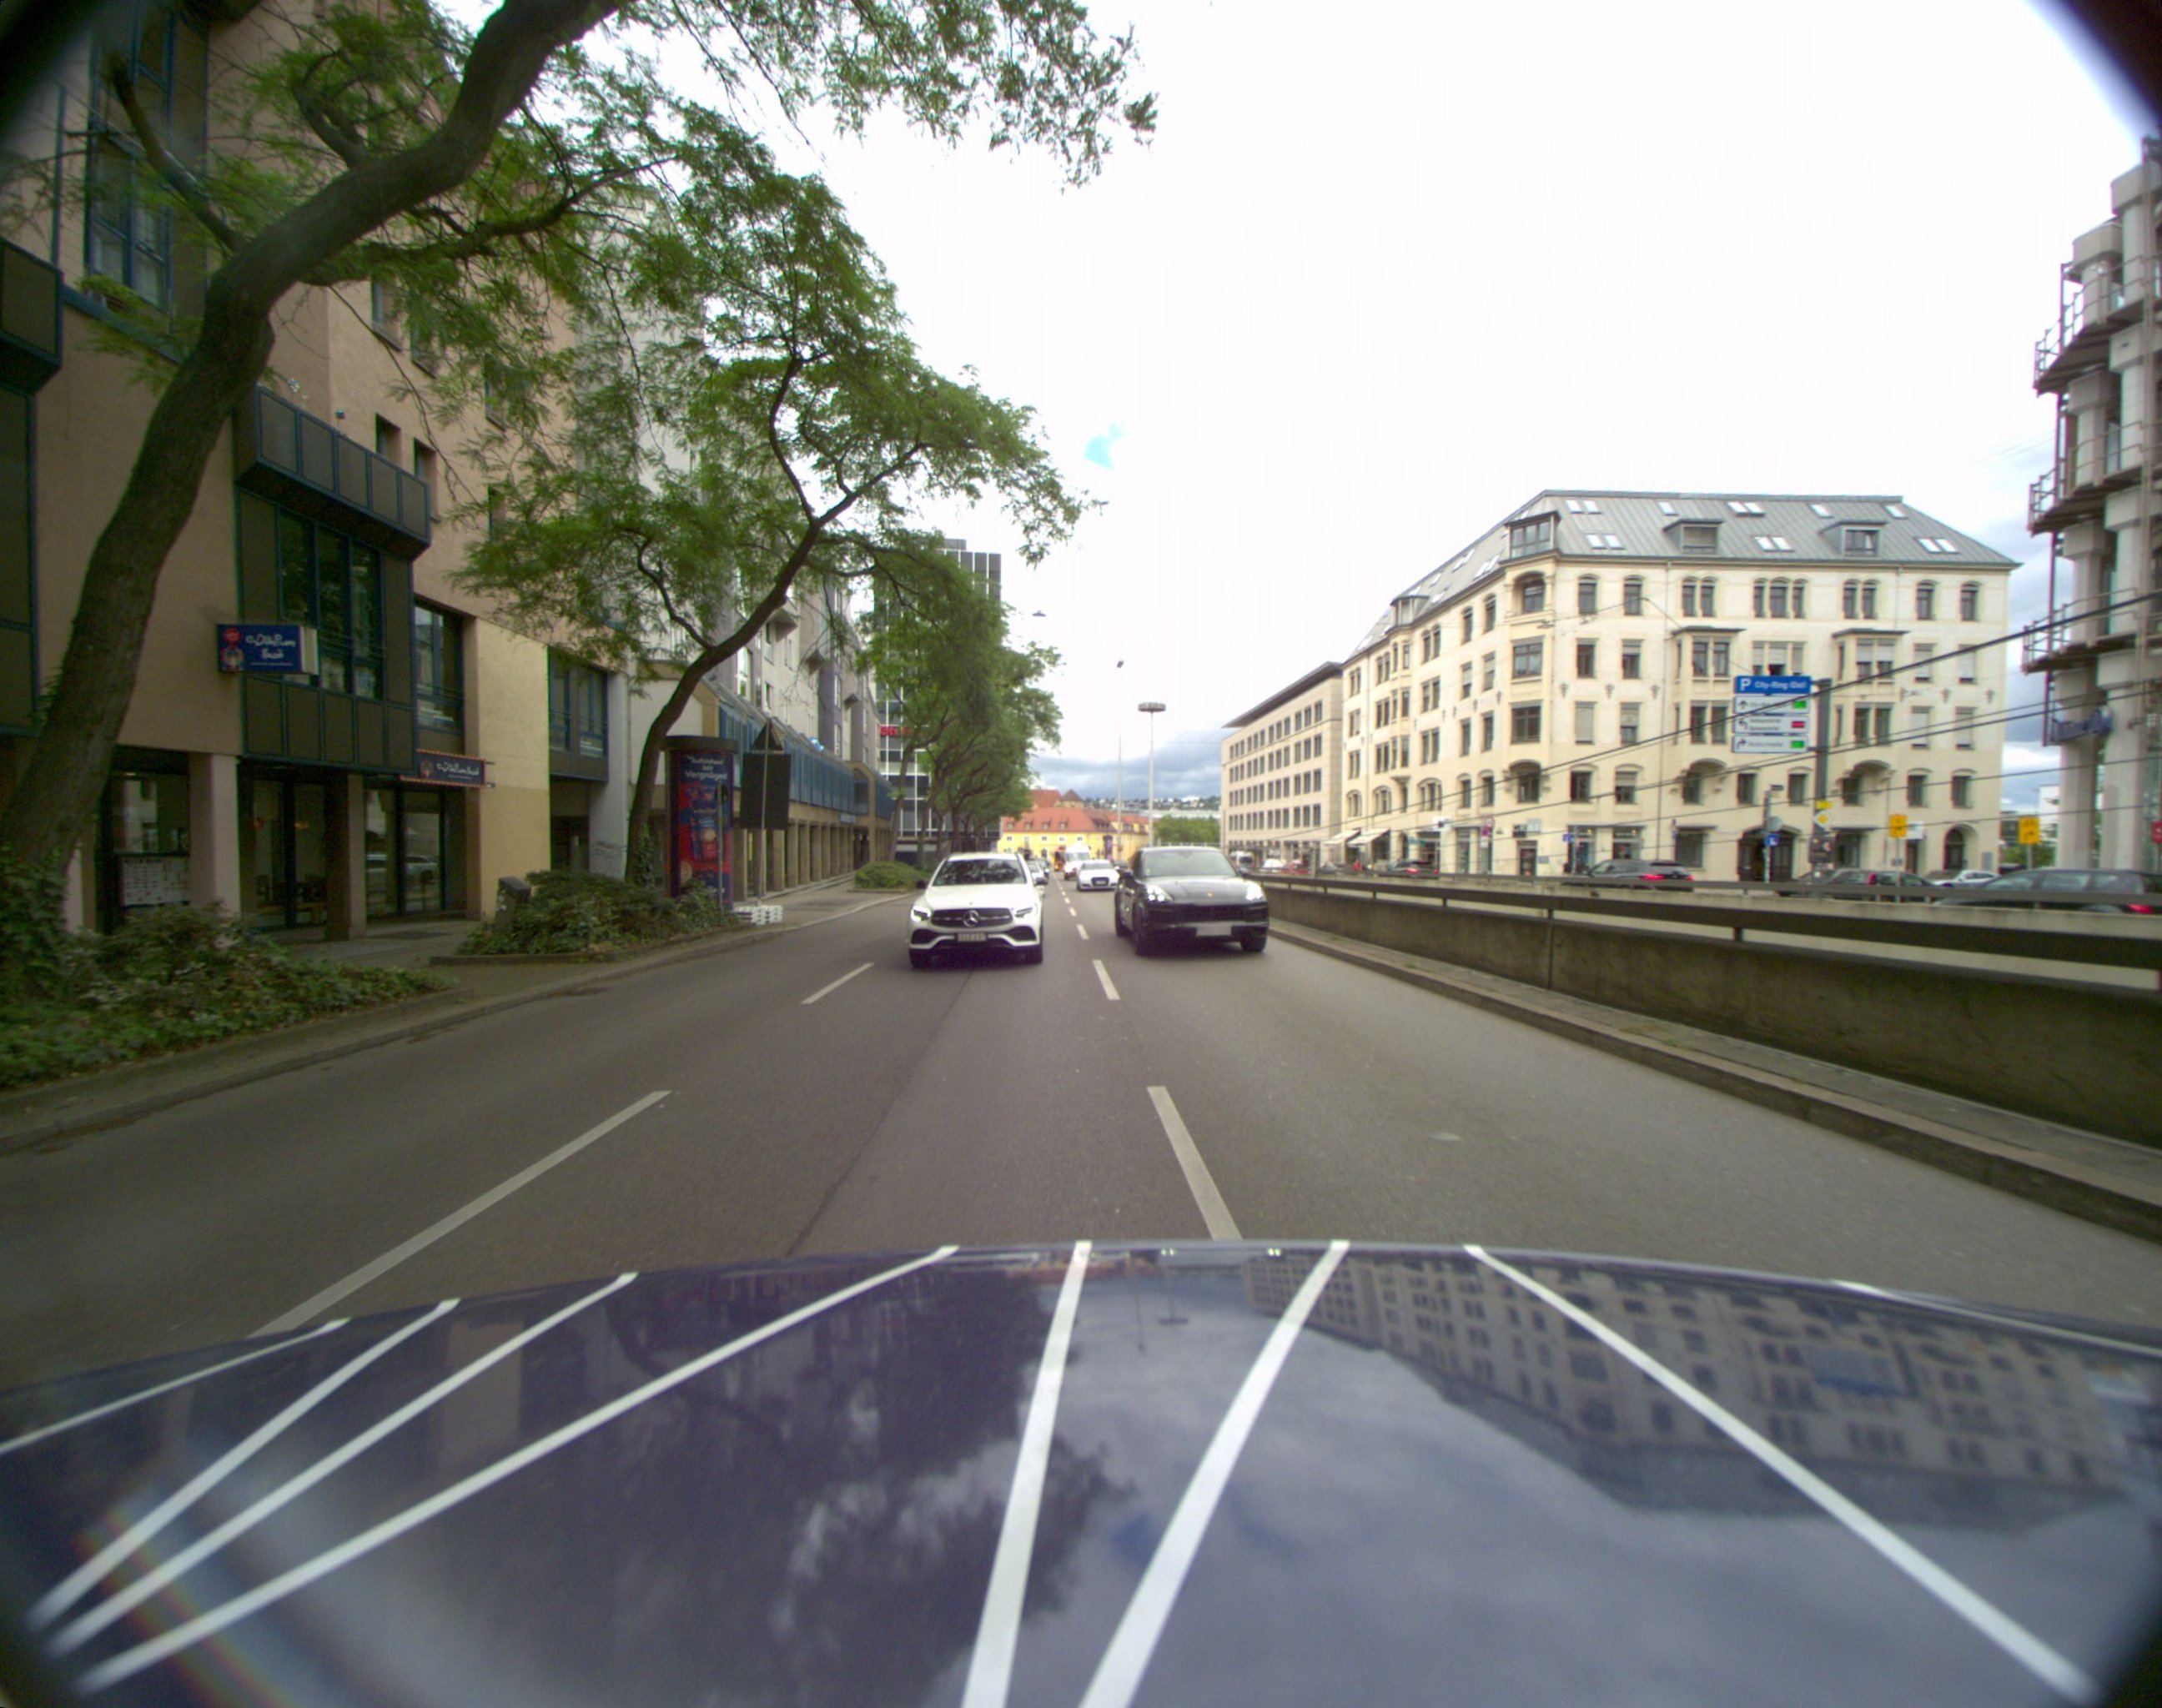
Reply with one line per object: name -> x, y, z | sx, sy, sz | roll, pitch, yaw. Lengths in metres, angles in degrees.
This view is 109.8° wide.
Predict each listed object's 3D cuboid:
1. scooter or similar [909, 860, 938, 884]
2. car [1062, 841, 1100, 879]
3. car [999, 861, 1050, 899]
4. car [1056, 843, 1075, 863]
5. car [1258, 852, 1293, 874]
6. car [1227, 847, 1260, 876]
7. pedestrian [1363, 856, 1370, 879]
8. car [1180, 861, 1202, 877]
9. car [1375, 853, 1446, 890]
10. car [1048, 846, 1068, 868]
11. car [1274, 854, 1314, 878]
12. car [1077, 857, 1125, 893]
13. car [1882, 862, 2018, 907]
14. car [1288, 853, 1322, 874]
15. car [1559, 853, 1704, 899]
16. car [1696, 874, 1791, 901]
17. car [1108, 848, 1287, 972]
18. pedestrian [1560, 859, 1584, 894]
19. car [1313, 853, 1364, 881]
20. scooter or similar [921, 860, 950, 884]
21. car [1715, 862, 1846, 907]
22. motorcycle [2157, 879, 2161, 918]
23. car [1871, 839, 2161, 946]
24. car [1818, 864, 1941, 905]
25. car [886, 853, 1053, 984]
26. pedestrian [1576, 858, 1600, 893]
scooter or similar -> -9.967, 1.120, 48.097 | 1.600, 1.425, 0.730 | -2, 1, -33
car -> 0.070, 0.417, 57.028 | 2.294, 2.723, 4.755 | -1, 0, 6
car -> -2.251, 1.014, 31.386 | 1.890, 1.378, 4.609 | -2, 0, -2
car -> -2.177, -0.193, 109.141 | 2.503, 2.793, 5.727 | -1, 0, 0
car -> 18.696, 0.819, 73.366 | 1.999, 2.002, 4.789 | -2, 0, -2
car -> 18.238, 0.806, 85.697 | 2.370, 3.043, 5.468 | -2, 0, -2
pedestrian -> 22.481, 1.038, 59.851 | 0.510, 1.769, 0.578 | 0, 1, 22
car -> 14.044, 1.888, 97.065 | 1.999, 2.002, 4.789 | -2, 0, -2
car -> 19.466, 0.999, 45.187 | 1.999, 2.002, 4.789 | -2, 0, -2
car -> -3.027, 0.370, 101.544 | 2.503, 2.793, 5.727 | -1, 0, 0
car -> 18.761, 1.028, 67.197 | 1.999, 2.002, 4.789 | -2, 0, -2
car -> 0.880, 0.942, 35.477 | 1.950, 1.521, 3.999 | -2, 0, -2
car -> 33.592, 1.150, 29.427 | 3.599, 1.651, 1.649 | 0, 0, -5
car -> 22.169, 0.963, 75.303 | 1.999, 2.002, 3.999 | 0, 0, -2
car -> 20.149, 0.739, 28.120 | 1.818, 1.551, 4.641 | 0, 0, -3
car -> 33.004, 1.658, 37.906 | 3.600, 1.227, 1.649 | 0, 0, -9
car -> 1.719, 0.793, 13.238 | 2.088, 1.665, 5.351 | -2, 0, -2
pedestrian -> 24.156, 1.103, 37.386 | 0.712, 1.701, 0.687 | 0, 0, -13
car -> 19.230, 0.938, 56.996 | 1.999, 2.002, 4.789 | -2, 0, -2
scooter or similar -> -8.983, 1.112, 46.937 | 1.536, 1.425, 0.686 | -2, 1, -33
car -> 26.694, 1.142, 29.069 | 3.649, 1.651, 1.649 | 0, 0, -5
motorcycle -> 30.434, 1.234, 20.396 | 0.645, 1.069, 1.670 | -2, 1, -22
car -> 20.463, 0.704, 16.262 | 1.999, 1.952, 4.789 | 0, 0, -3
car -> 33.184, 1.242, 31.633 | 3.599, 1.651, 1.649 | 0, 0, -5
car -> -1.492, 0.825, 11.650 | 2.060, 1.599, 3.926 | -2, 0, -2
pedestrian -> 25.111, 1.077, 37.634 | 0.712, 1.701, 0.687 | 0, 0, -13
